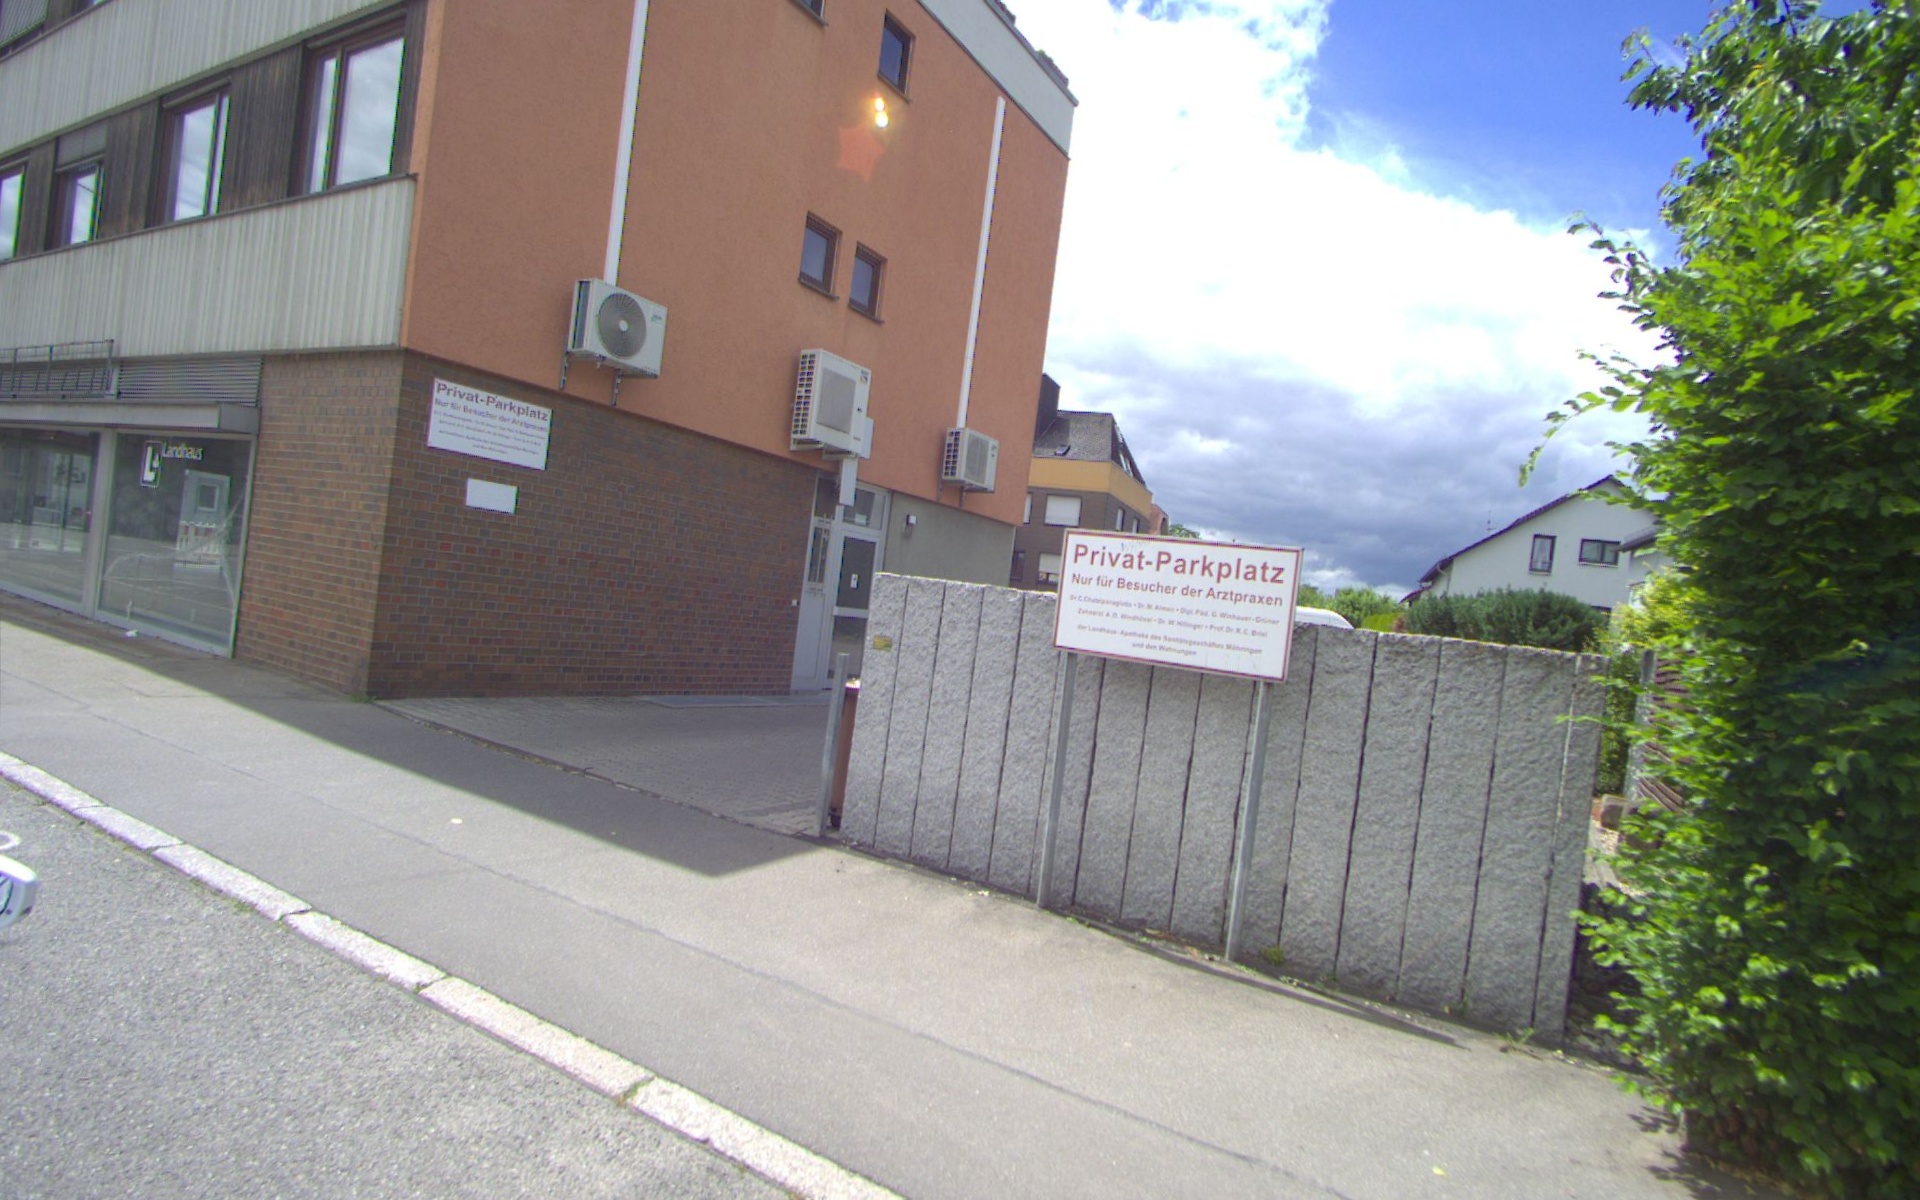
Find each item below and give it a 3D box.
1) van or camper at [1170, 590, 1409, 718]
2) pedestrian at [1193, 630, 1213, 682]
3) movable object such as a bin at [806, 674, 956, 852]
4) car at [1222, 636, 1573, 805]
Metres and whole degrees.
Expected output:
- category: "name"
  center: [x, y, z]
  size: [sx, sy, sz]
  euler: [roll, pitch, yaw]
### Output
- category: "van or camper"
  center: [8.578, 1.394, 26.601]
  size: [5.409, 2.574, 2.059]
  euler: [7, 0, 3]
- category: "pedestrian"
  center: [7.924, 1.827, 32.769]
  size: [0.434, 1.639, 0.529]
  euler: [7, -1, 17]
- category: "movable object such as a bin"
  center: [-0.484, 0.987, 6.295]
  size: [0.674, 0.962, 0.534]
  euler: [7, 0, 17]
- category: "car"
  center: [5.581, 1.503, 13.265]
  size: [3.725, 1.554, 1.788]
  euler: [7, 0, 5]
